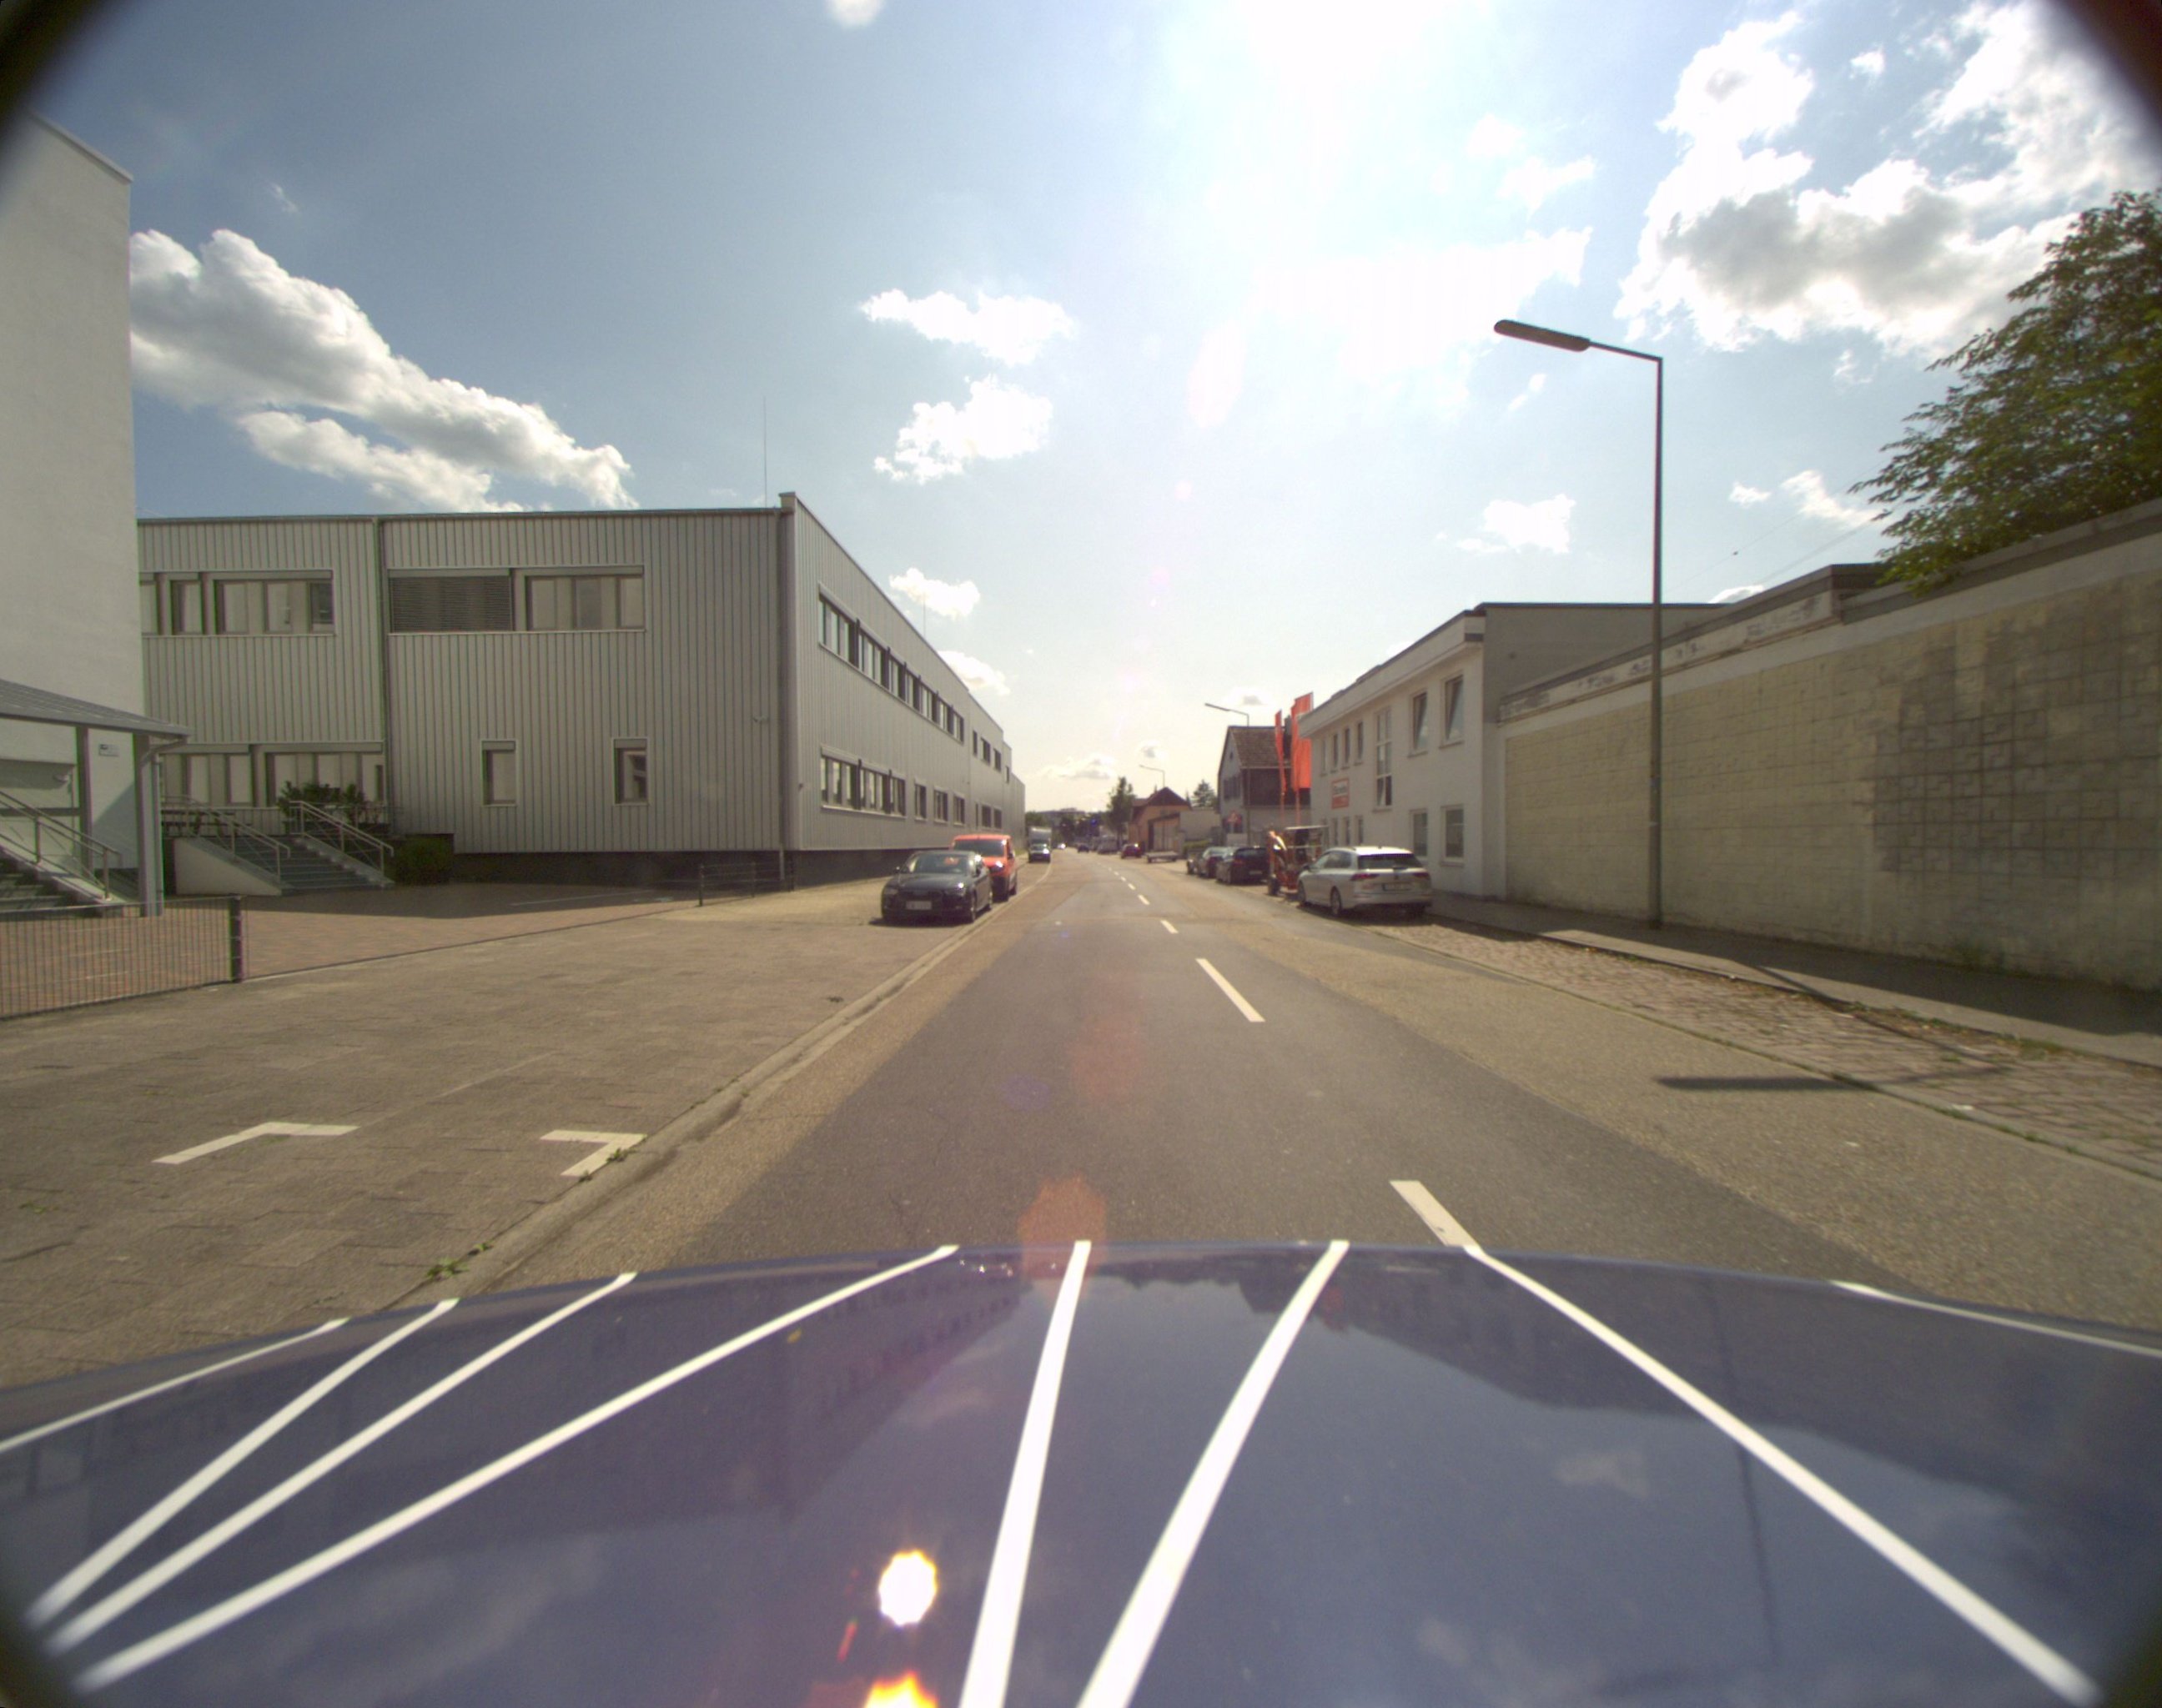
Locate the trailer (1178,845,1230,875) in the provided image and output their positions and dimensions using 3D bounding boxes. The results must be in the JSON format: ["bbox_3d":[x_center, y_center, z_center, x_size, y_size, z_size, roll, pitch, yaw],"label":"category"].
[{"bbox_3d":[6.314,0.245,39.526,1.772,1.369,5.049,-2,1,-1],"label":"trailer"}]

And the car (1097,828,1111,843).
[{"bbox_3d":[4.069,-3.286,135.606,1.999,2.556,5.822,-3,1,-1],"label":"car"}]

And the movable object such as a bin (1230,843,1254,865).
[{"bbox_3d":[10.756,-0.026,50.827,1.319,1.419,1.188,0,1,-4],"label":"movable object such as a bin"}]

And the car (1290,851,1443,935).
[{"bbox_3d":[5.985,0.723,16.519,1.677,1.447,4.513,-2,1,1],"label":"car"}]

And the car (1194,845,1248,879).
[{"bbox_3d":[6.301,0.310,34.614,1.677,1.369,3.883,-2,1,-1],"label":"car"}]

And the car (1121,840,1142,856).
[{"bbox_3d":[5.153,-0.632,77.581,1.714,1.459,4.628,-3,1,0],"label":"car"}]

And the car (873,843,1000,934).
[{"bbox_3d":[-2.874,0.597,15.983,1.663,1.549,4.177,-3,1,2],"label":"car"}]

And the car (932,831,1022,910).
[{"bbox_3d":[-2.839,0.384,21.724,1.877,1.881,4.451,-5,1,-1],"label":"car"}]

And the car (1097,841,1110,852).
[{"bbox_3d":[3.464,-1.191,116.387,1.658,1.483,3.715,-3,1,-1],"label":"car"}]

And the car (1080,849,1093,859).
[{"bbox_3d":[0.802,-0.073,117.628,1.739,1.434,3.998,1,1,-2],"label":"car"}]

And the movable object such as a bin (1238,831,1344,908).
[{"bbox_3d":[6.008,0.367,22.399,1.618,1.908,5.137,-4,1,0],"label":"movable object such as a bin"}]

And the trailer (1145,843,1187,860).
[{"bbox_3d":[6.413,-0.217,57.956,2.457,1.157,6.051,-2,1,0],"label":"trailer"}]

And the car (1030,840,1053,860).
[{"bbox_3d":[-3.314,-0.339,63.726,1.715,1.502,4.113,-3,1,-1],"label":"car"}]

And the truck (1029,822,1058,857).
[{"bbox_3d":[-3.968,-1.494,78.105,2.608,3.207,8.073,-3,1,-4],"label":"truck"}]

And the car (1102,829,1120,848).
[{"bbox_3d":[4.284,-2.280,109.192,2.079,2.527,5.822,-3,1,-1],"label":"car"}]

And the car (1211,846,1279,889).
[{"bbox_3d":[6.245,0.456,29.359,1.677,1.447,4.223,-2,1,0],"label":"car"}]
